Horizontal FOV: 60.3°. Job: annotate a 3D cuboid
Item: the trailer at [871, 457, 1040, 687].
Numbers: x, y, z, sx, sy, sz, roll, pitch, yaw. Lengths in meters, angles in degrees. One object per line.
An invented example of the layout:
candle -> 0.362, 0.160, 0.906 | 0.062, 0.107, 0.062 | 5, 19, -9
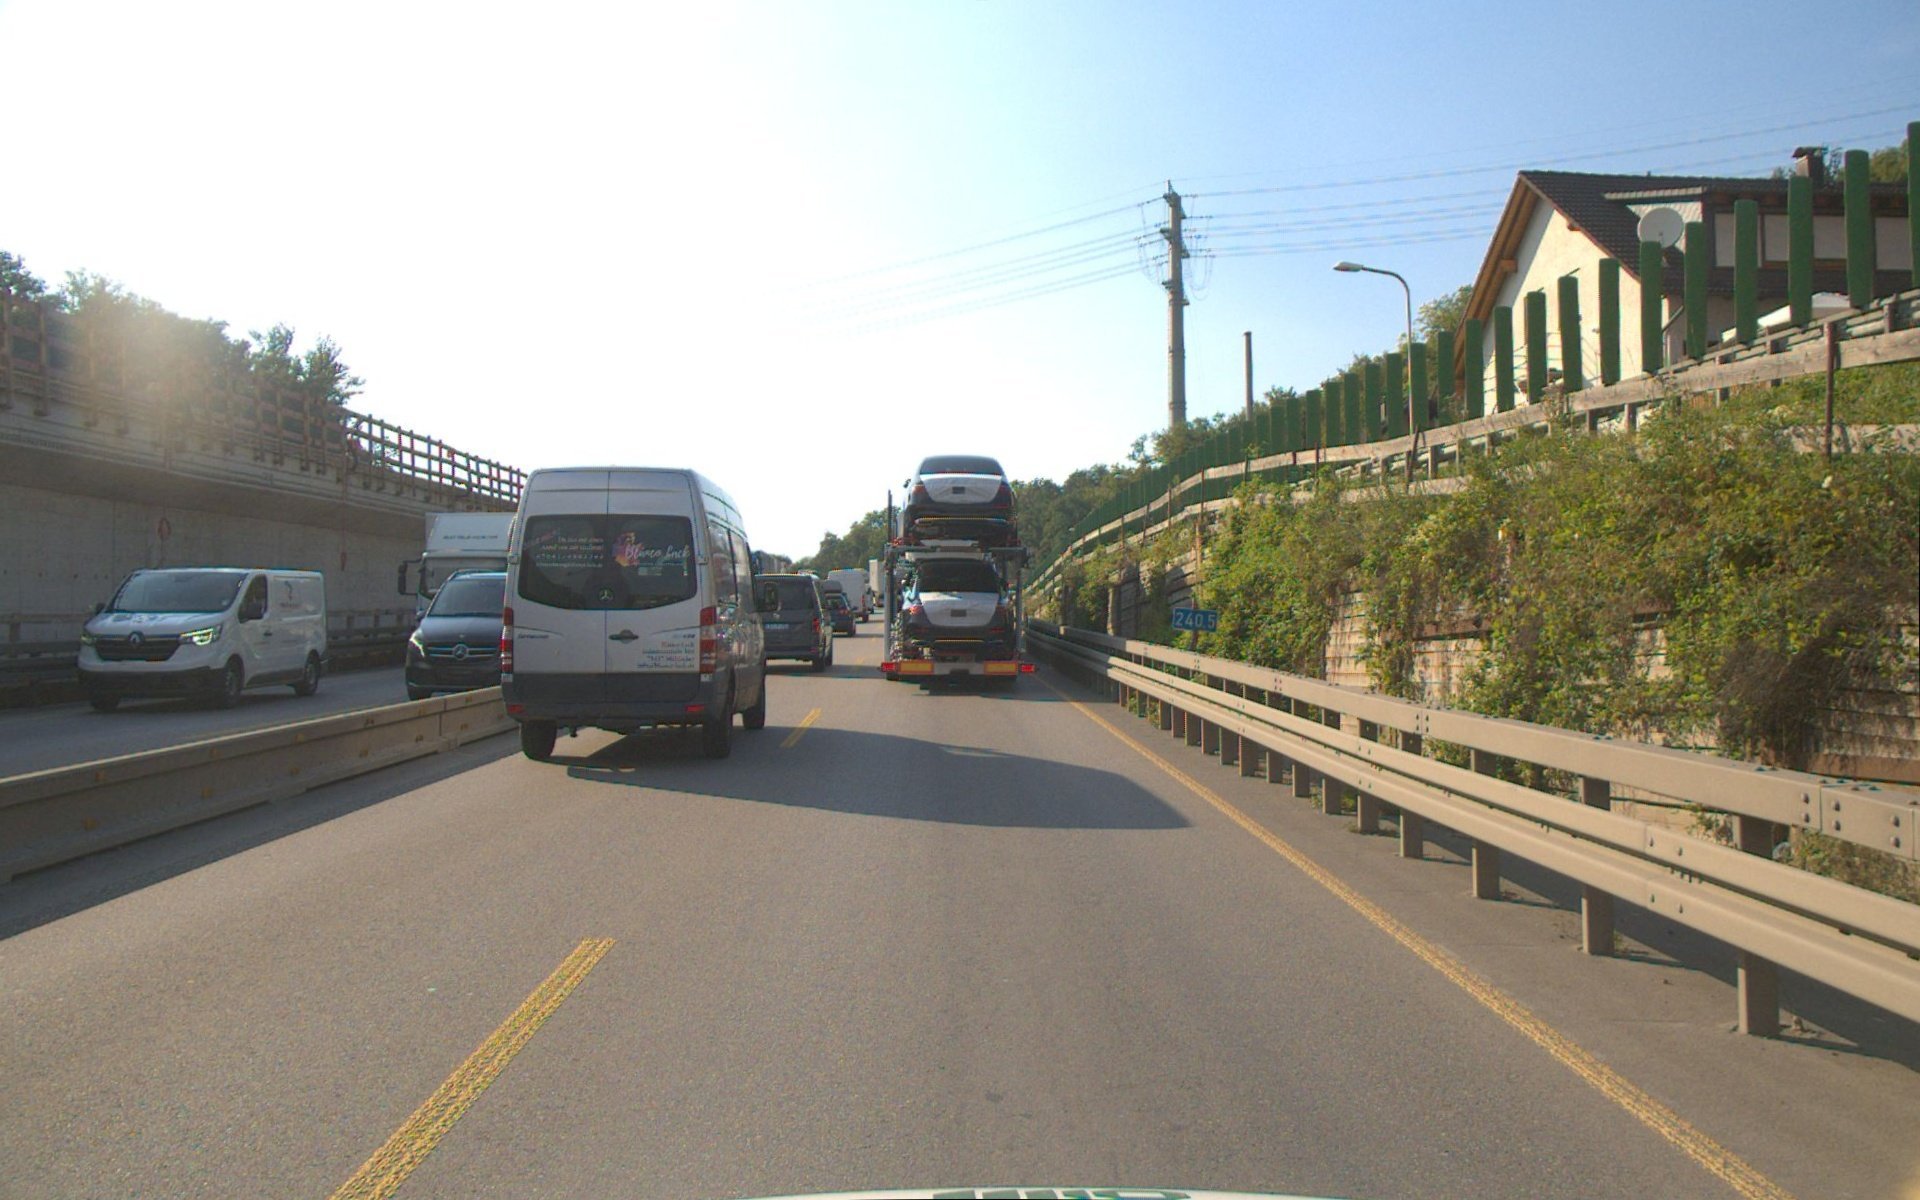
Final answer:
trailer -> -0.154, -0.359, 33.686 | 2.628, 3.597, 15.285 | 1, -1, -1

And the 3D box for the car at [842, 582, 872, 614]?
car -> -6.943, -0.129, 111.549 | 1.847, 2.137, 3.764 | 0, 0, -1

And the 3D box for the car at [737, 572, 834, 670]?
car -> -3.651, 0.455, 35.190 | 1.772, 1.937, 3.998 | 1, -1, -3

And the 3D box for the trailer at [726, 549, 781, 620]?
trailer -> -13.184, -1.000, 106.431 | 2.554, 4.183, 9.622 | -3, 1, -3

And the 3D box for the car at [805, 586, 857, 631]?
car -> -4.661, 0.293, 60.088 | 1.691, 1.549, 3.971 | 1, 0, -2

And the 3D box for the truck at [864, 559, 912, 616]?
truck -> -6.251, -1.068, 144.635 | 3.983, 4.761, 10.588 | 0, 0, -2

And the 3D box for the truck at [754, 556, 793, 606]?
truck -> -16.827, -1.622, 149.840 | 2.924, 4.226, 15.840 | 0, 0, -4

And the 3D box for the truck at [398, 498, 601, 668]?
truck -> -10.668, -0.312, 39.243 | 2.660, 3.484, 8.137 | -3, -1, -2

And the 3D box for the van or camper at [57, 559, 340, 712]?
van or camper -> -10.742, 0.462, 23.797 | 1.878, 1.956, 4.921 | 1, 0, -1

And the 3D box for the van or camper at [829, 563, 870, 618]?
van or camper -> -5.549, -0.421, 83.363 | 1.929, 2.637, 5.039 | 1, -1, -2

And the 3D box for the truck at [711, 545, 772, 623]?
truck -> -12.695, -0.903, 96.865 | 2.572, 4.184, 9.622 | -3, 0, -3

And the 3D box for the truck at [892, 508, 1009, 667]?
truck -> -0.257, -0.256, 41.252 | 2.628, 3.597, 7.192 | 1, -1, -1

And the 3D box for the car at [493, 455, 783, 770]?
car -> -3.074, 0.097, 17.024 | 1.953, 2.694, 5.529 | -1, 0, -1

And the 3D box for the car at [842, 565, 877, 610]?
car -> -11.629, -1.409, 190.653 | 3.379, 5.123, 9.638 | 0, 0, -7

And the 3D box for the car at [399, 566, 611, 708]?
car -> -6.965, 0.521, 25.946 | 1.945, 1.956, 5.289 | 1, 0, -1

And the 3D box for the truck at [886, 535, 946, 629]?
truck -> -2.372, -0.921, 86.528 | 2.850, 4.687, 7.280 | 0, 0, -4
